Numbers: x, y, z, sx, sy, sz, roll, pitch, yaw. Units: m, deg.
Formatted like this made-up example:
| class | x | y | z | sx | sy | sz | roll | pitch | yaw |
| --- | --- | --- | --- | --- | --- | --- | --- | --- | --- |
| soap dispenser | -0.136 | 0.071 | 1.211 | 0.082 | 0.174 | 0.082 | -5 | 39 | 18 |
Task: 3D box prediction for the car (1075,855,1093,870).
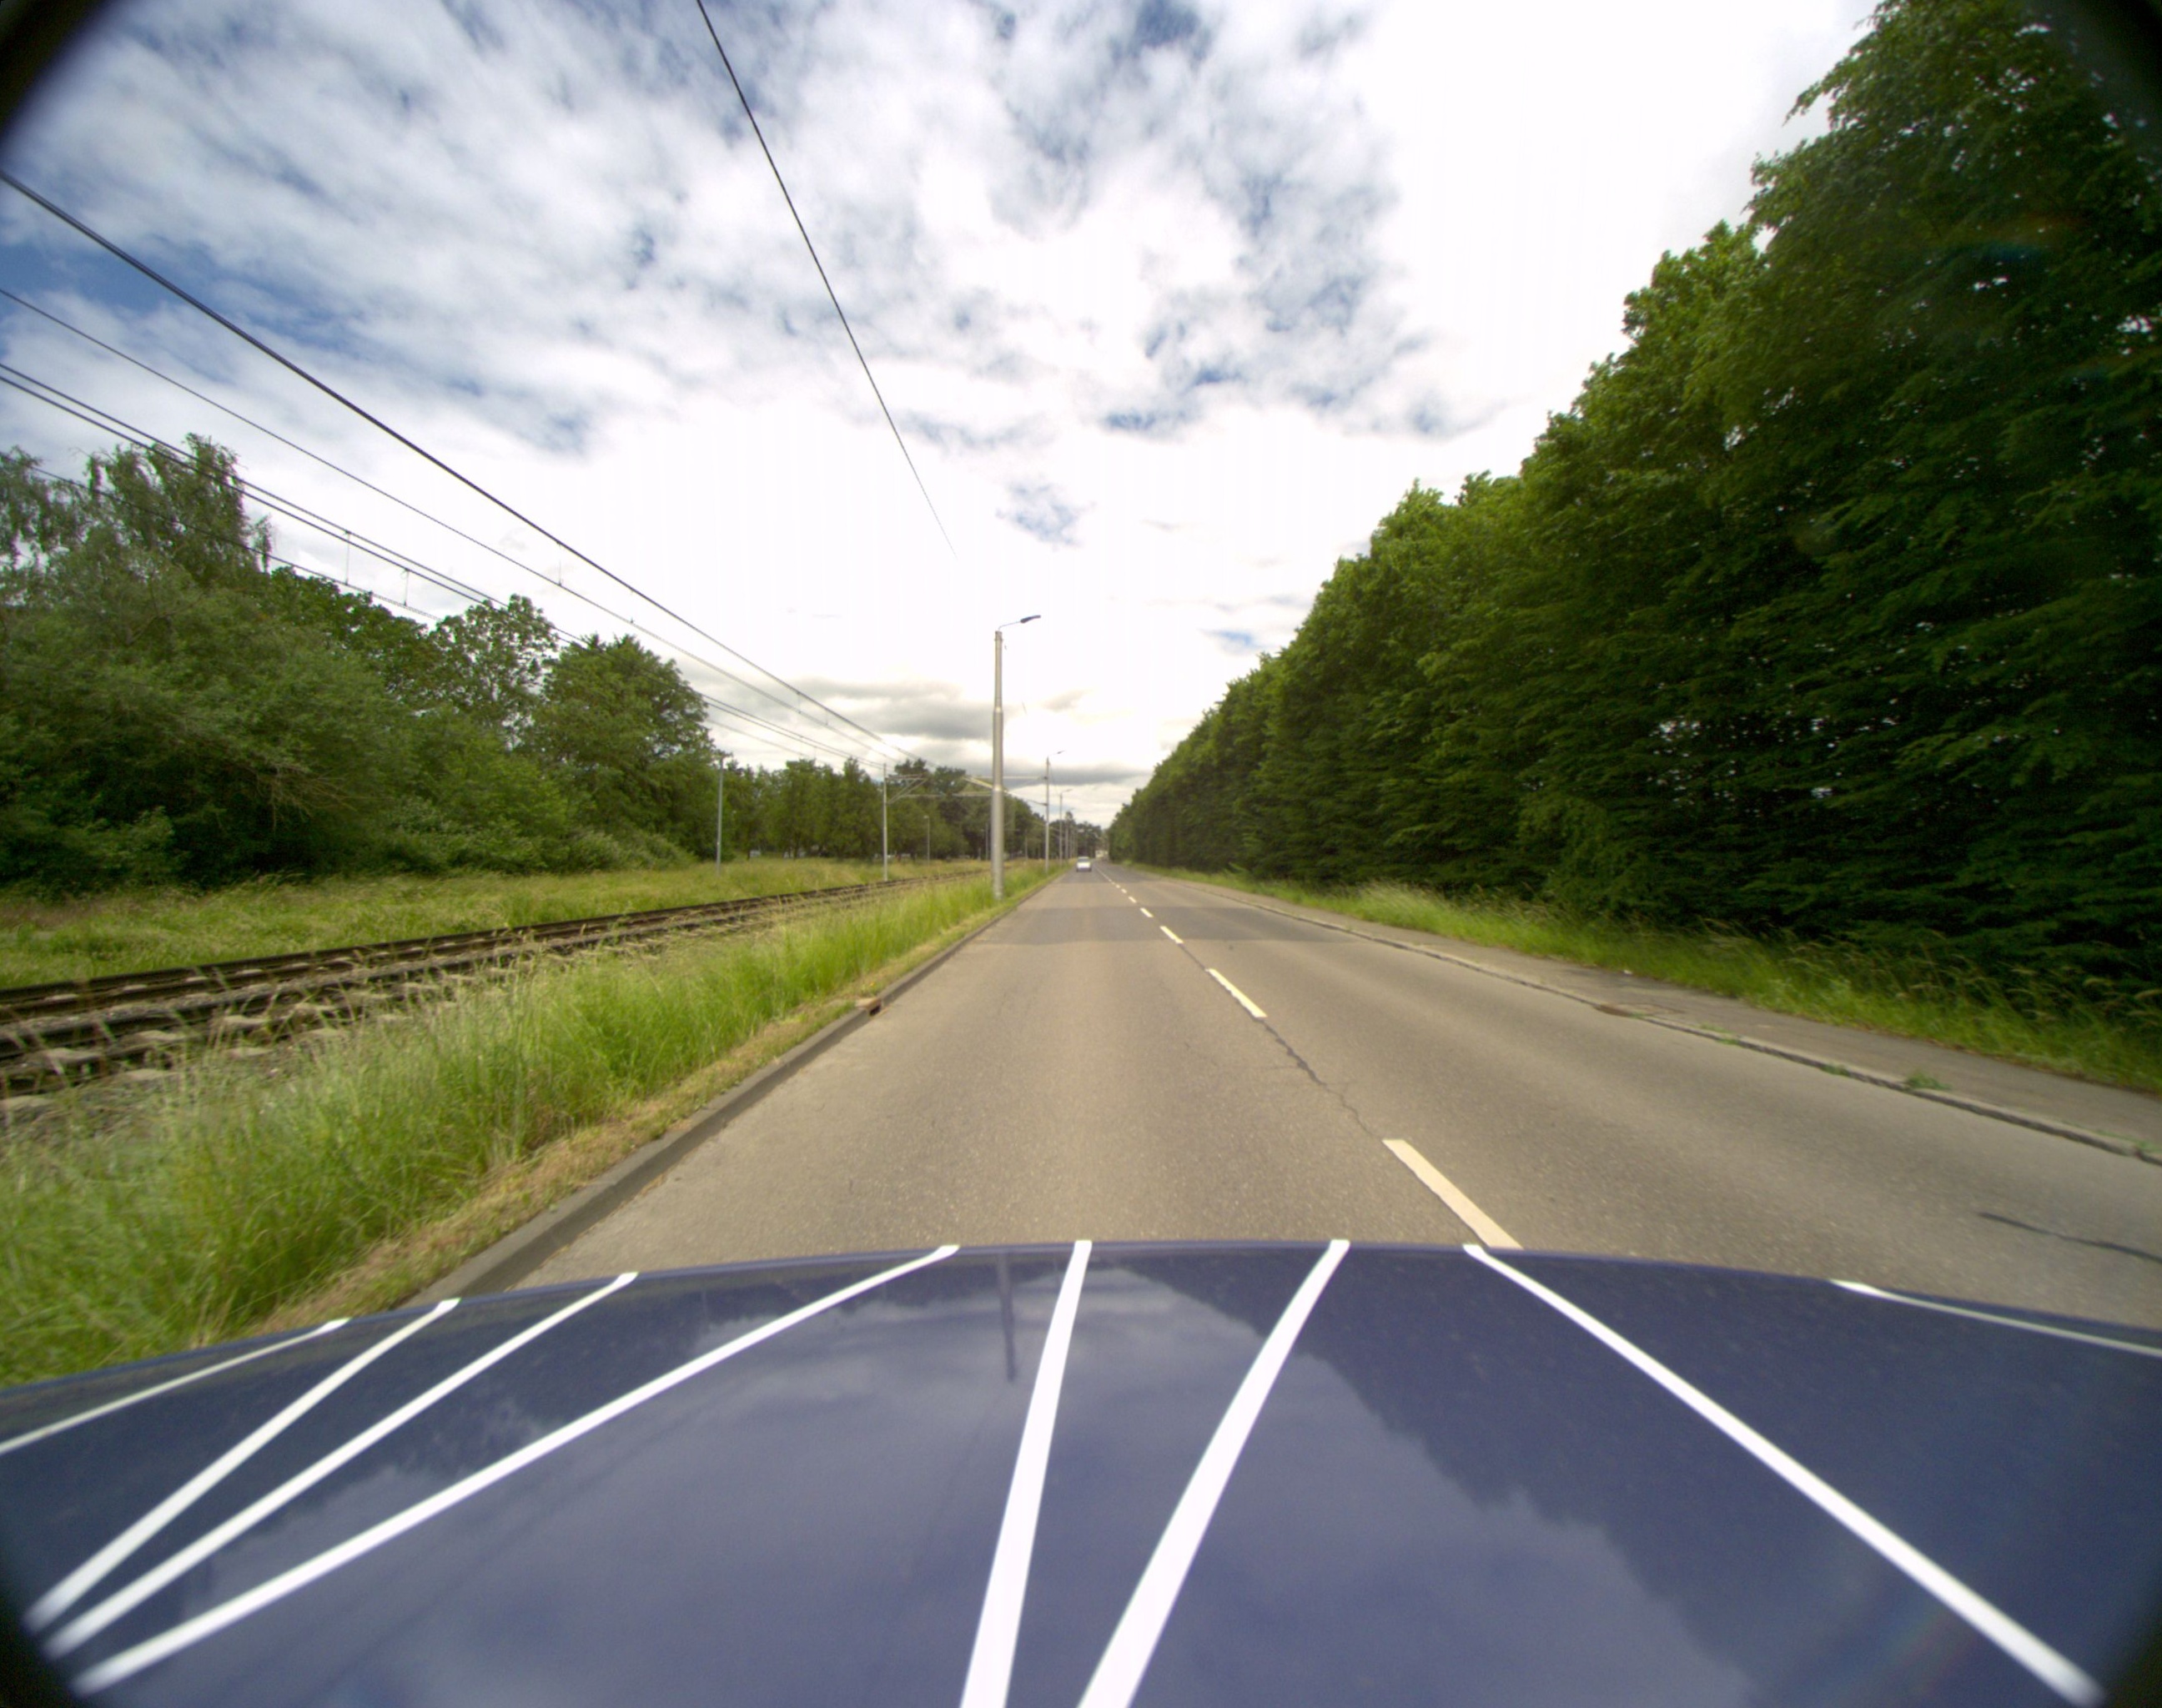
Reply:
| class | x | y | z | sx | sy | sz | roll | pitch | yaw |
| --- | --- | --- | --- | --- | --- | --- | --- | --- | --- |
| car | 0.338 | 0.945 | 85.444 | 1.999 | 1.679 | 3.999 | 0 | 0 | -1 |
